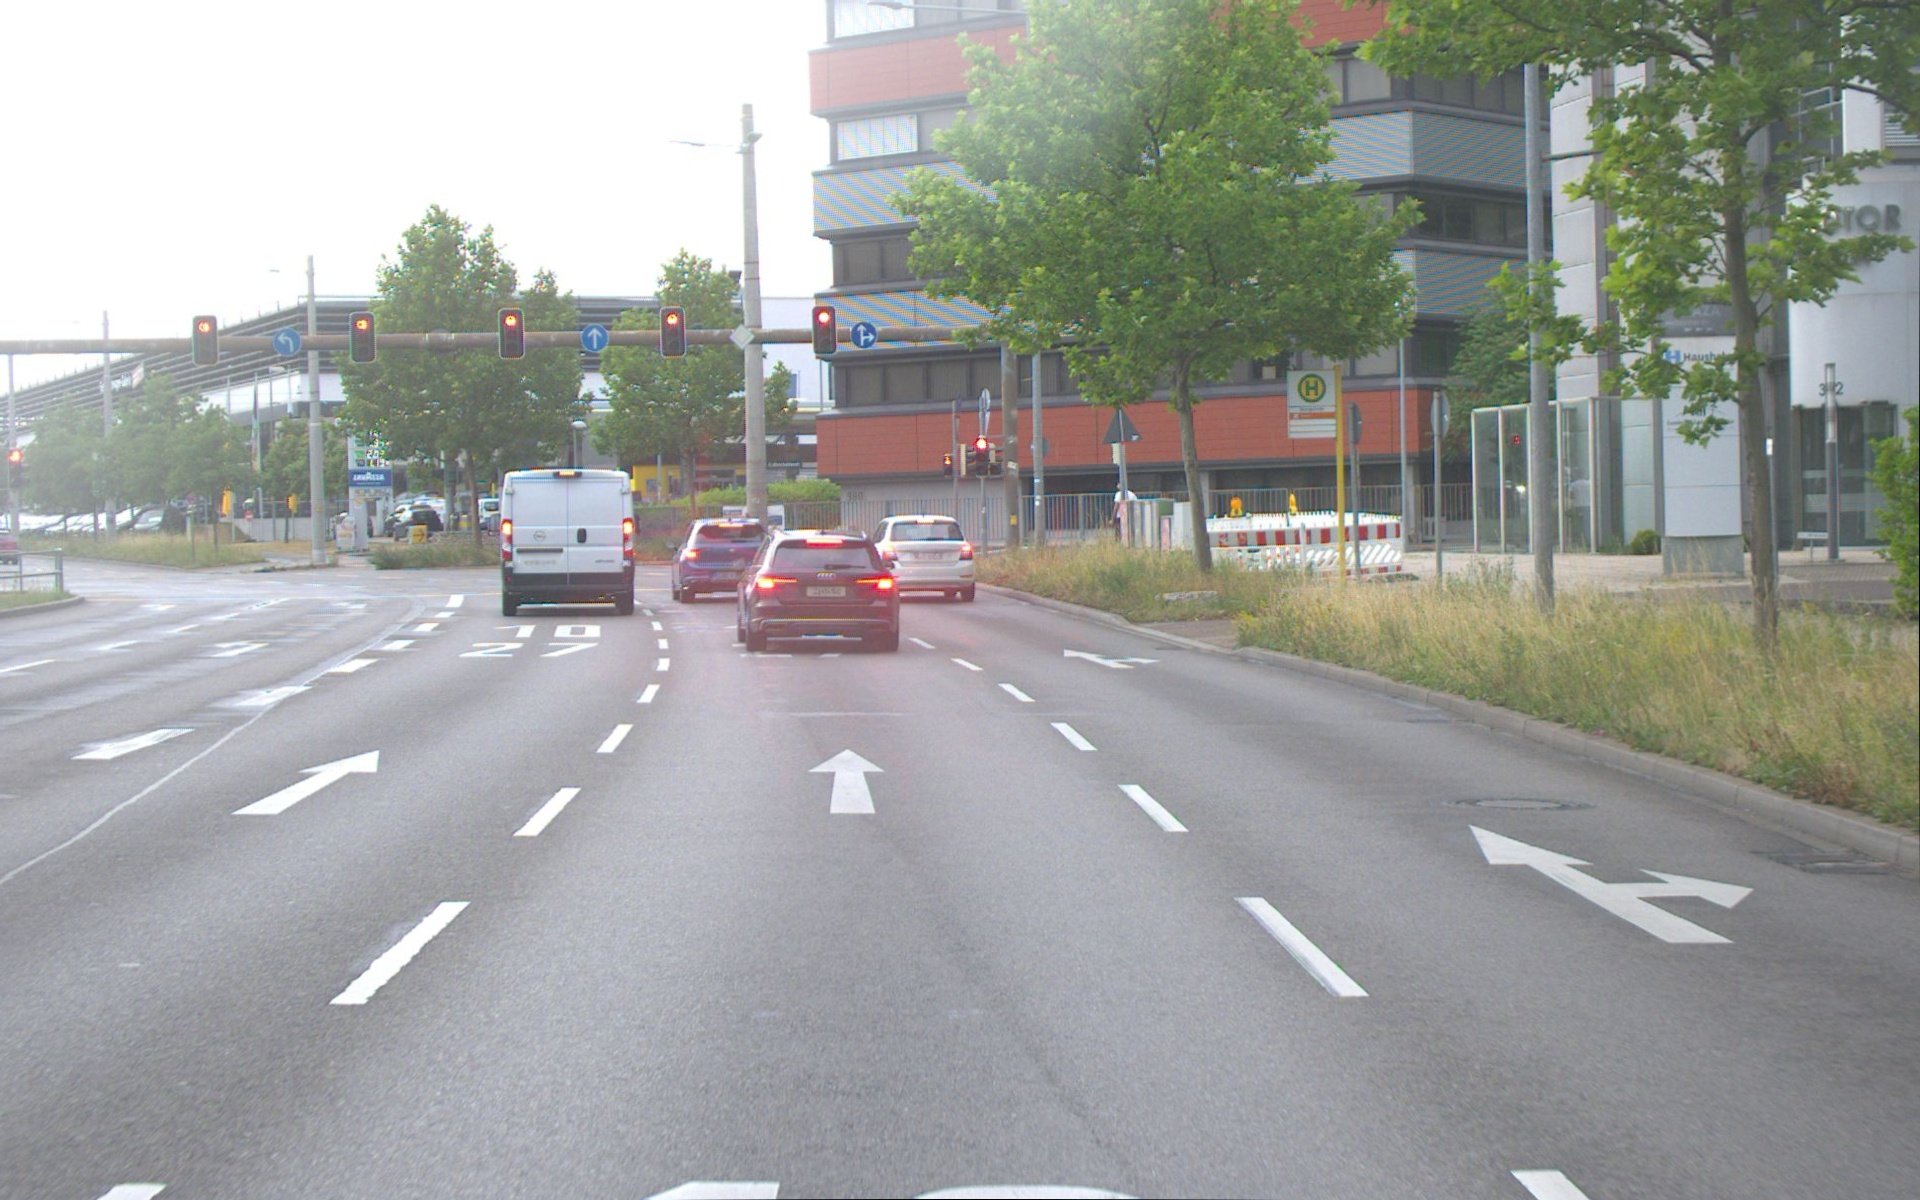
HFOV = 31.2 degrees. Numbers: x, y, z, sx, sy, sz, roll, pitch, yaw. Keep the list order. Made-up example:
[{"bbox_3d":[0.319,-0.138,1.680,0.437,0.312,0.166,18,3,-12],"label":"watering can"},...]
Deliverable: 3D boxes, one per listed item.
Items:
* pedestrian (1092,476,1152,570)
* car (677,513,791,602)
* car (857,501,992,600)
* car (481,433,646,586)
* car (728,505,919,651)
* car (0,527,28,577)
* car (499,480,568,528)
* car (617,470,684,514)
[{"bbox_3d":[3.771,-1.798,80.241,1.143,2.118,1.223,-2,3,-6],"label":"pedestrian"},{"bbox_3d":[-3.970,-0.748,59.963,1.893,1.460,3.910,-1,1,-5],"label":"car"},{"bbox_3d":[-0.651,-0.871,59.366,1.828,1.650,4.001,-1,1,-8],"label":"car"},{"bbox_3d":[-6.328,-1.393,54.452,2.444,2.286,4.906,1,1,-8],"label":"car"},{"bbox_3d":[-1.689,-0.273,41.189,1.993,1.631,4.001,1,1,-6],"label":"car"},{"bbox_3d":[-39.932,-2.003,143.082,1.772,2.007,4.348,1,1,-21],"label":"car"},{"bbox_3d":[-18.599,-4.175,149.660,1.993,2.025,4.001,-3,2,-21],"label":"car"},{"bbox_3d":[-14.625,-5.103,162.399,1.870,2.007,3.774,1,1,-27],"label":"car"}]
